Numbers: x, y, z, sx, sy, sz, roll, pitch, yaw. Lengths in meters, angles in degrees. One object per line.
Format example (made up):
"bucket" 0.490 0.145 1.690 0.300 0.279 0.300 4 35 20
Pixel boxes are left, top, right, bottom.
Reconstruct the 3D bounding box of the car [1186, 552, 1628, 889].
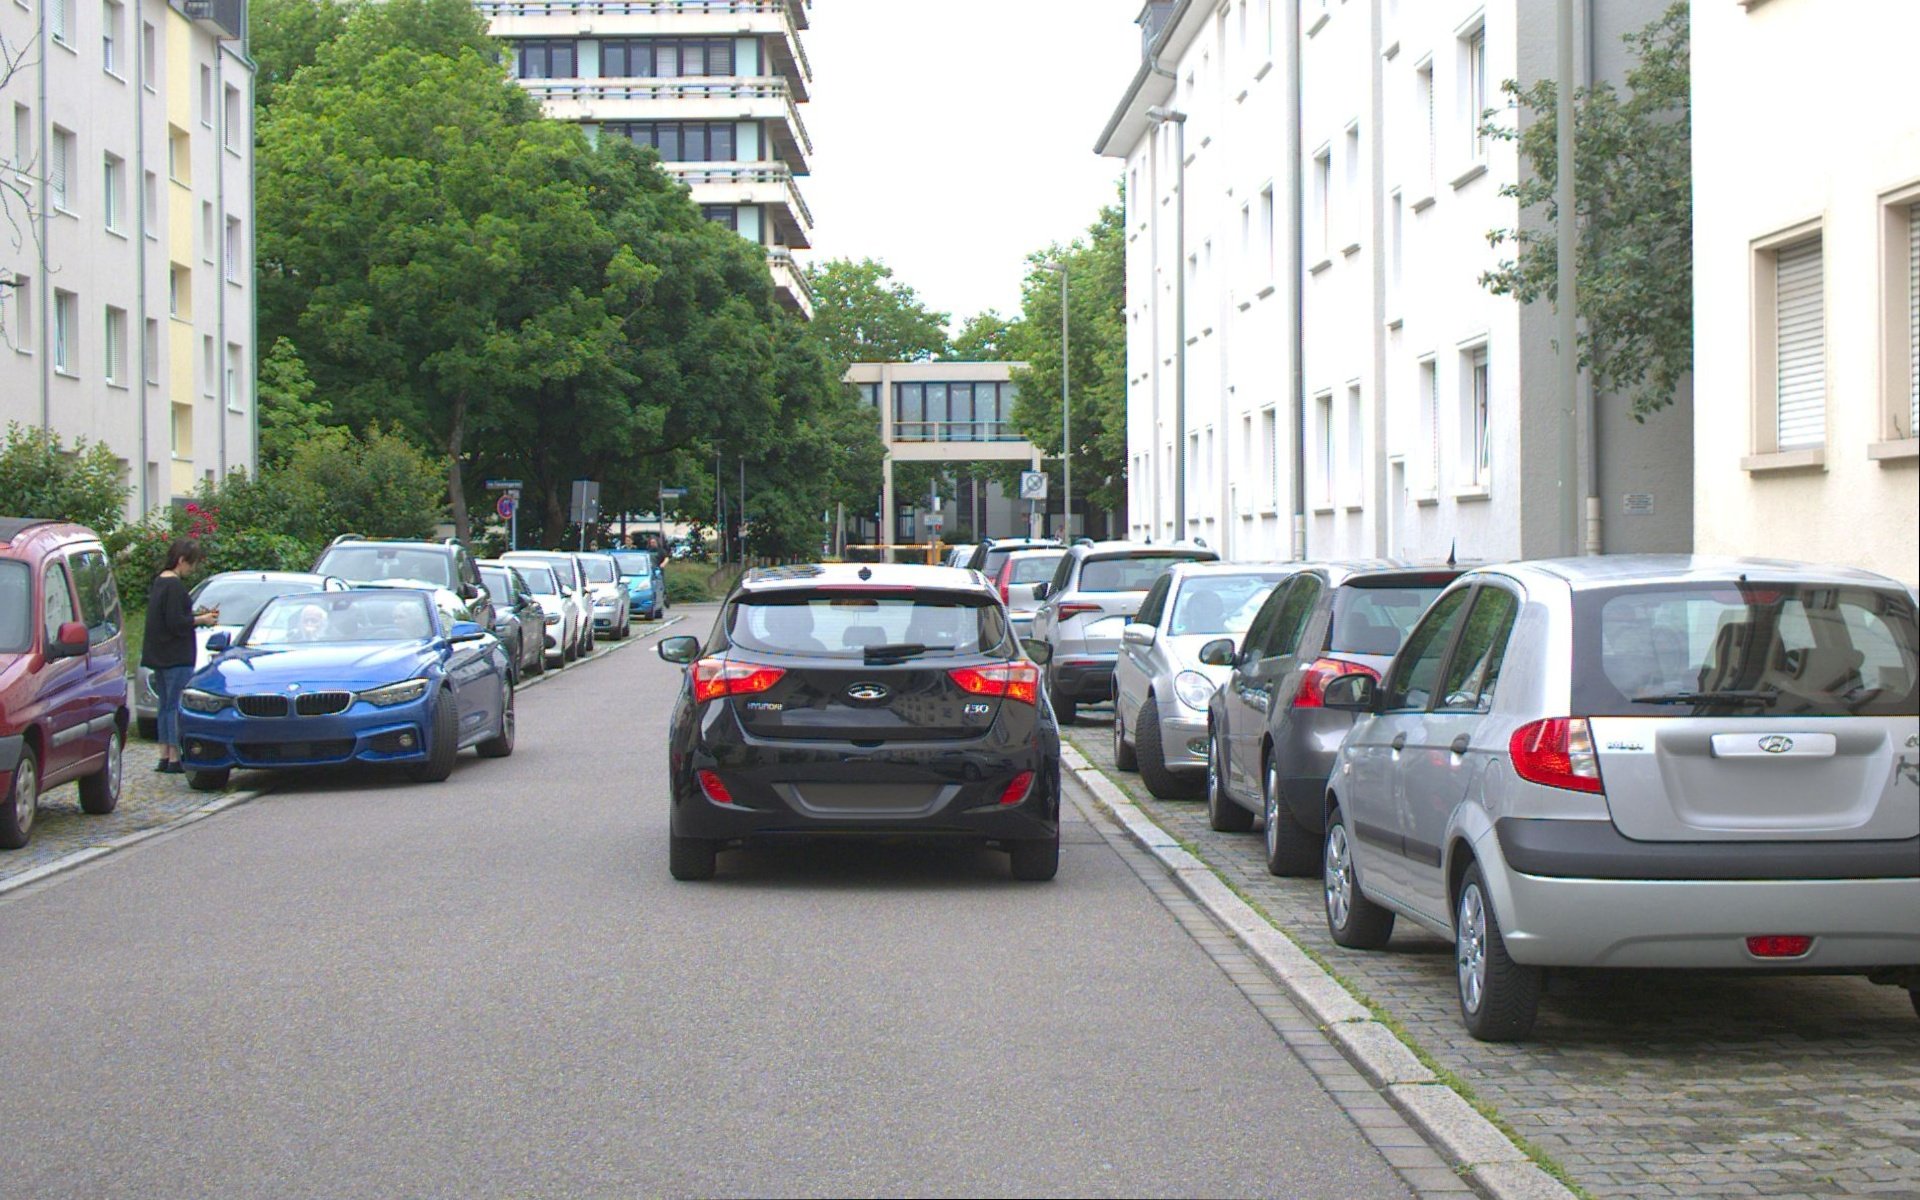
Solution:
"car" 2.113 0.509 17.197 1.602 1.471 3.869 0 1 -1

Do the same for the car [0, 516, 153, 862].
"car" -5.962 0.409 19.613 1.956 1.764 4.362 0 1 -4

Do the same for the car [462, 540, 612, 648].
"car" -6.647 -0.128 54.452 1.895 1.593 4.521 2 1 -2

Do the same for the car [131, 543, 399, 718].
"car" -6.245 0.228 31.269 1.744 1.459 3.786 -1 1 -2

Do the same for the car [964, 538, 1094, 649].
"car" 1.009 -0.132 52.064 1.820 1.597 4.091 -1 1 -1

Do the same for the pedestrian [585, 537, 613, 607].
"pedestrian" -8.887 -0.702 84.617 0.600 1.707 0.648 0 1 0

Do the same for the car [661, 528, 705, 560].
"car" -11.795 -2.387 146.638 1.665 1.328 3.396 0 1 -2

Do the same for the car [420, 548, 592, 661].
"car" -6.324 0.031 48.335 1.895 1.447 4.521 2 1 -2

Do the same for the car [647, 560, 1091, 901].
"car" -0.429 0.543 17.023 1.903 1.428 4.233 -1 1 -1

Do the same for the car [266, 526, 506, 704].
"car" -6.069 0.114 36.819 1.895 1.734 4.475 2 1 -2

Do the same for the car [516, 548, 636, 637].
"car" -6.978 -0.162 62.758 1.993 1.536 4.001 0 1 -4

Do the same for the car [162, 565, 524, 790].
"car" -4.356 0.488 24.930 1.845 1.446 4.501 0 1 0

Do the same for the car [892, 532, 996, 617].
"car" -0.338 -0.510 64.921 1.820 1.514 4.674 -1 1 -2

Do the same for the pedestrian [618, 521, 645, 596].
"pedestrian" -8.104 -1.027 84.816 0.605 1.825 0.675 0 1 0

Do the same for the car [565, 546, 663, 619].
"car" -7.524 -0.401 75.067 1.993 1.536 4.001 0 1 -4

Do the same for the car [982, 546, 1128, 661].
"car" 1.261 0.019 47.191 1.820 1.498 4.091 0 1 -1

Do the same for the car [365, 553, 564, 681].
"car" -6.132 0.171 42.993 1.895 1.447 4.667 2 1 -2

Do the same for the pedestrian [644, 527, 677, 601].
"pedestrian" -7.365 -0.890 84.535 0.714 1.825 0.797 0 1 0

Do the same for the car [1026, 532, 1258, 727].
"car" 1.574 0.214 31.013 1.820 1.636 4.091 0 1 -1

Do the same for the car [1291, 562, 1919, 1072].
"car" 2.304 0.609 11.854 1.848 1.445 3.833 0 1 -1

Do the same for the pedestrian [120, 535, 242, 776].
"pedestrian" -5.653 0.388 24.923 0.740 1.696 0.796 -1 1 -19

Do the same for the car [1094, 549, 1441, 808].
"car" 1.866 0.422 22.102 1.725 1.471 4.505 0 1 -1
